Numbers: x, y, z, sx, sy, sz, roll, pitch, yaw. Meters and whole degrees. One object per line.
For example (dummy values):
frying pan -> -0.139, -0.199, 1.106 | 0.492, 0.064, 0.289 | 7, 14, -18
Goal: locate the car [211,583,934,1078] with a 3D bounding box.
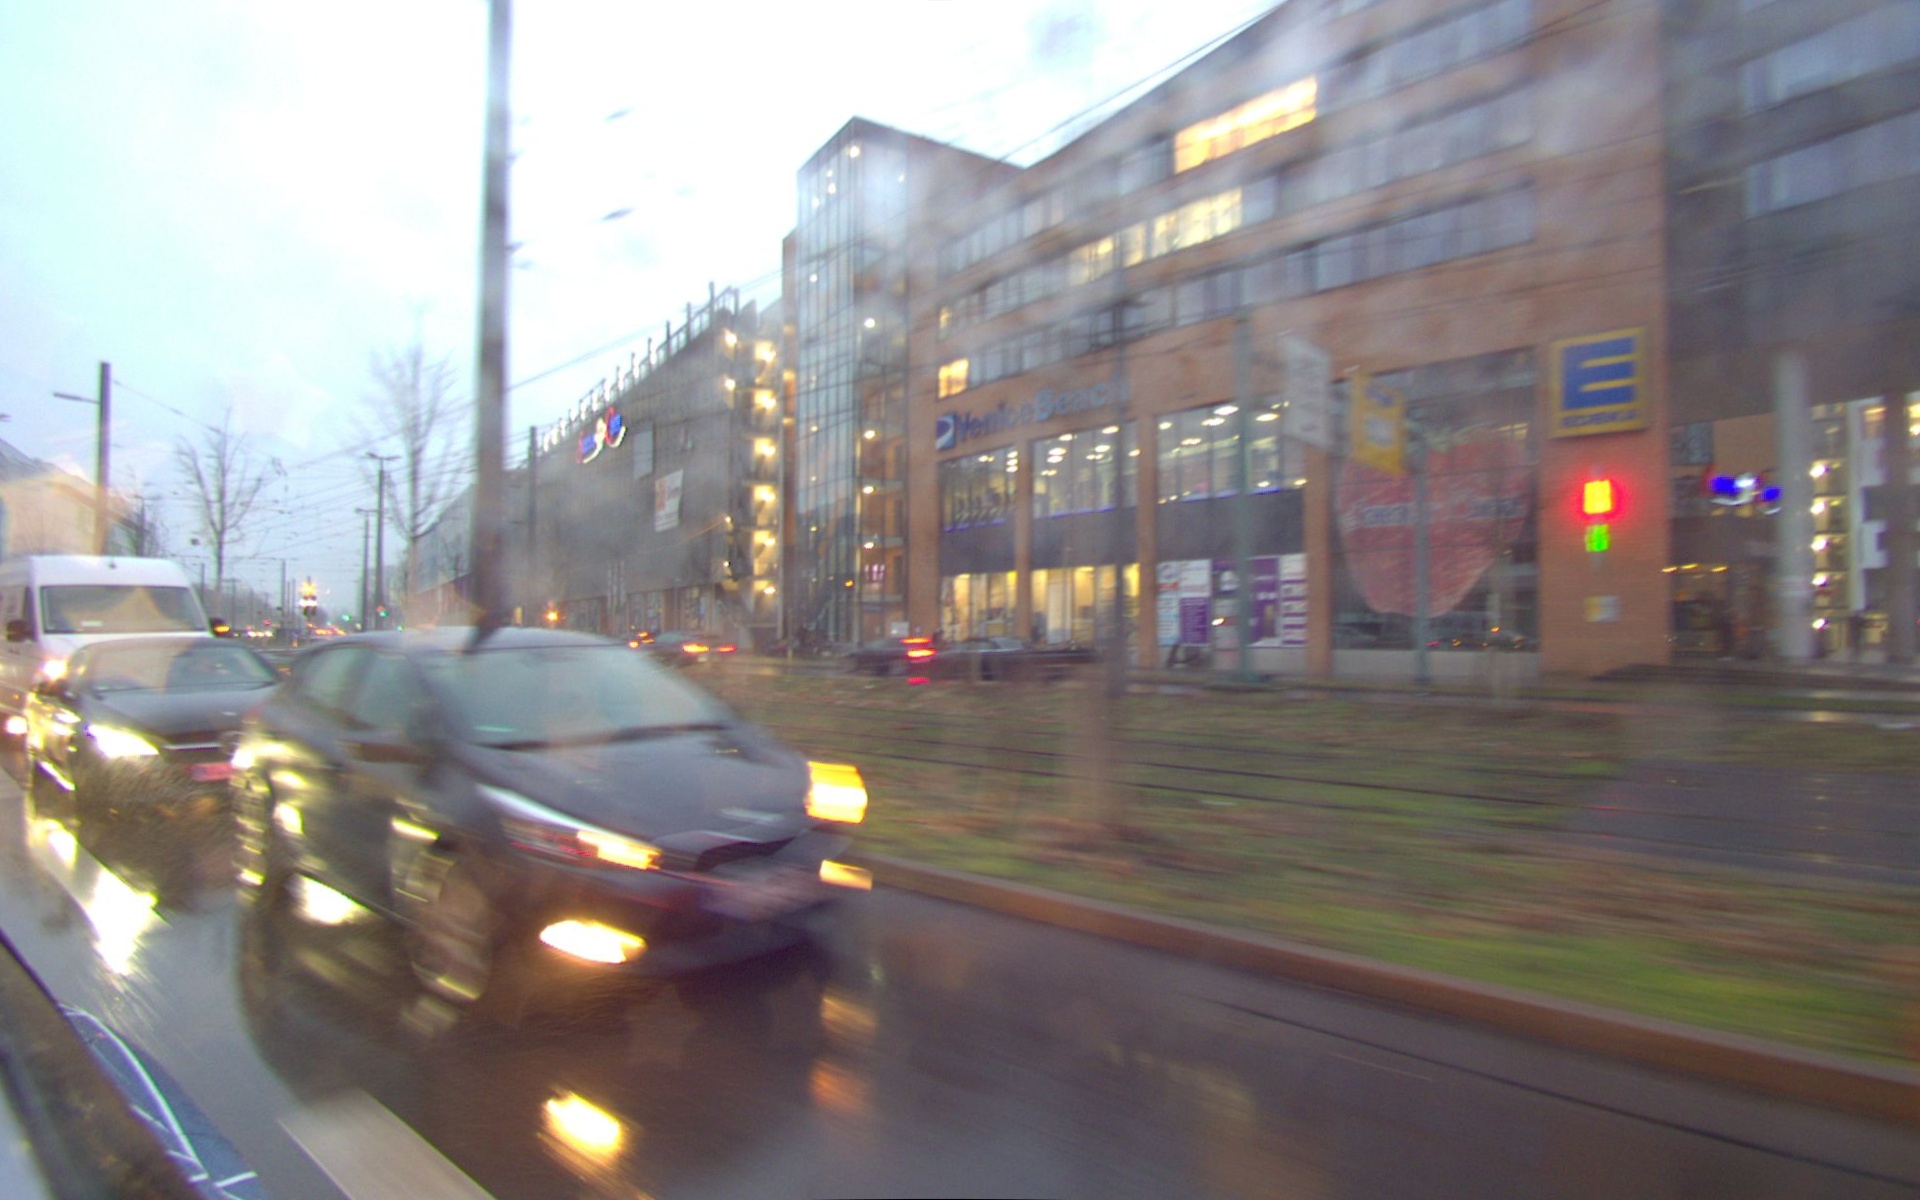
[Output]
car -> -2.138, 0.775, 5.038 | 3.937, 1.535, 1.614 | -2, -2, 39

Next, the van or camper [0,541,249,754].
van or camper -> -12.676, 0.647, 14.818 | 5.891, 2.551, 2.127 | -2, -2, 39

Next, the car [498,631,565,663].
car -> -20.229, 2.177, 47.741 | 1.765, 1.431, 3.904 | 1, -2, -41

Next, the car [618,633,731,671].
car -> -10.313, 1.823, 36.394 | 4.371, 1.247, 1.820 | -2, -2, 41

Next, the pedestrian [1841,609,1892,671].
pedestrian -> 26.228, 1.150, 29.305 | 0.782, 1.766, 0.704 | 0, -2, -2

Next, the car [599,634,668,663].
car -> -17.133, 2.505, 53.014 | 3.899, 1.431, 1.768 | -2, -2, 43

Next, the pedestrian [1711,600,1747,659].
pedestrian -> 23.331, 0.895, 30.716 | 0.658, 1.766, 0.534 | -1, -2, 10

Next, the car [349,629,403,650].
car -> -41.857, 2.817, 72.468 | 3.886, 1.431, 1.773 | -1, -2, 32

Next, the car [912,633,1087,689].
car -> 1.016, 1.598, 27.222 | 4.557, 1.340, 1.611 | -1, 0, 35

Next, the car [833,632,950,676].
car -> -2.572, 1.971, 37.462 | 4.285, 1.515, 1.821 | -2, -2, 40

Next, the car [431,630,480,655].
car -> -30.297, 2.549, 60.754 | 1.765, 1.431, 3.905 | 1, -2, -40

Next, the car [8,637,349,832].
car -> -7.198, 1.022, 9.171 | 4.055, 1.355, 1.736 | -2, -2, 42

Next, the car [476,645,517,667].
car -> -33.132, 3.962, 72.354 | 1.633, 1.431, 3.702 | 1, -2, -42
